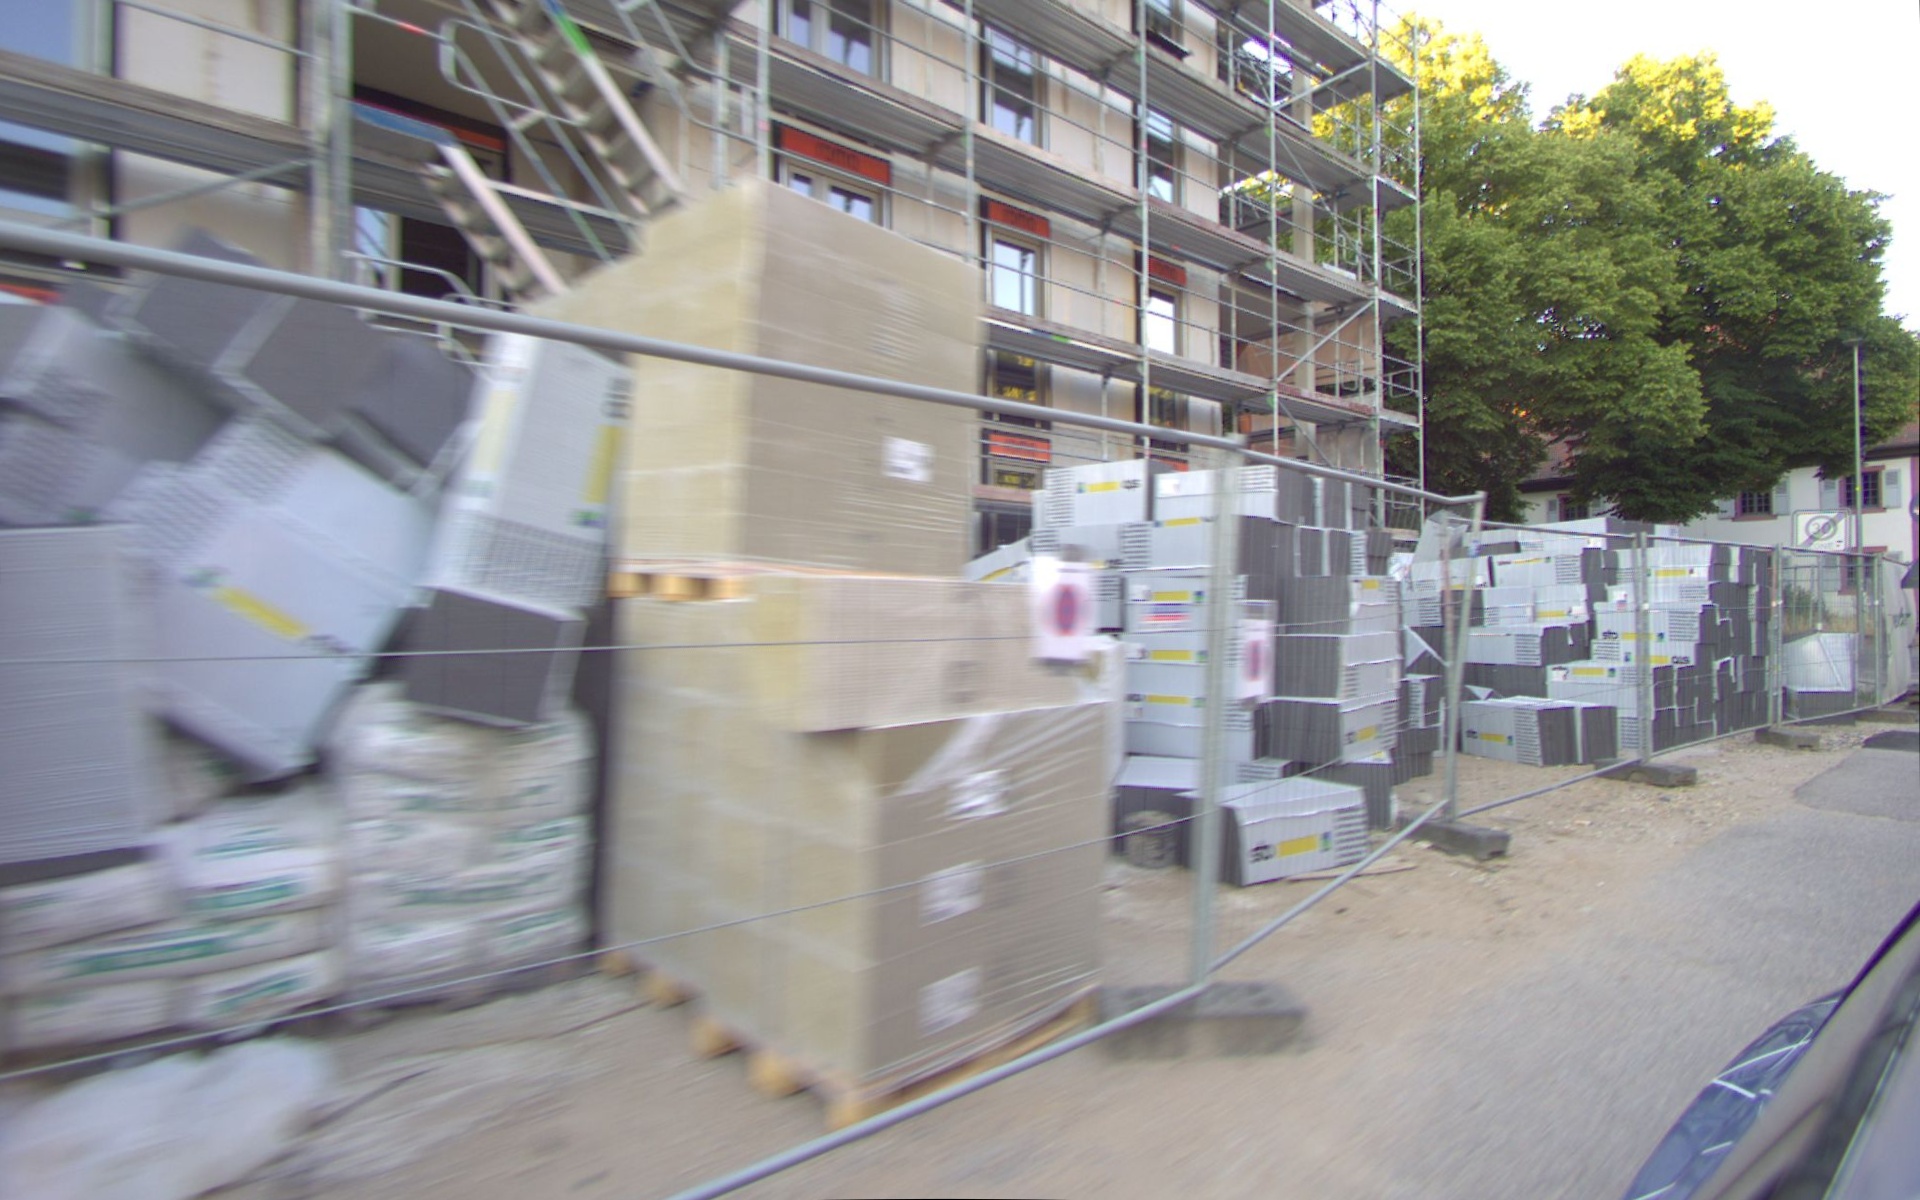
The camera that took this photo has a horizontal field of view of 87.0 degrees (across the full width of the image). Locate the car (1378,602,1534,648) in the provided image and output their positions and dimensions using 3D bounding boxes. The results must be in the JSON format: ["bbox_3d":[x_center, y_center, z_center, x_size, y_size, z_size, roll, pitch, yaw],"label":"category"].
[{"bbox_3d":[16.484,0.839,33.809,1.592,1.431,4.401,1,-2,-41],"label":"car"}]
